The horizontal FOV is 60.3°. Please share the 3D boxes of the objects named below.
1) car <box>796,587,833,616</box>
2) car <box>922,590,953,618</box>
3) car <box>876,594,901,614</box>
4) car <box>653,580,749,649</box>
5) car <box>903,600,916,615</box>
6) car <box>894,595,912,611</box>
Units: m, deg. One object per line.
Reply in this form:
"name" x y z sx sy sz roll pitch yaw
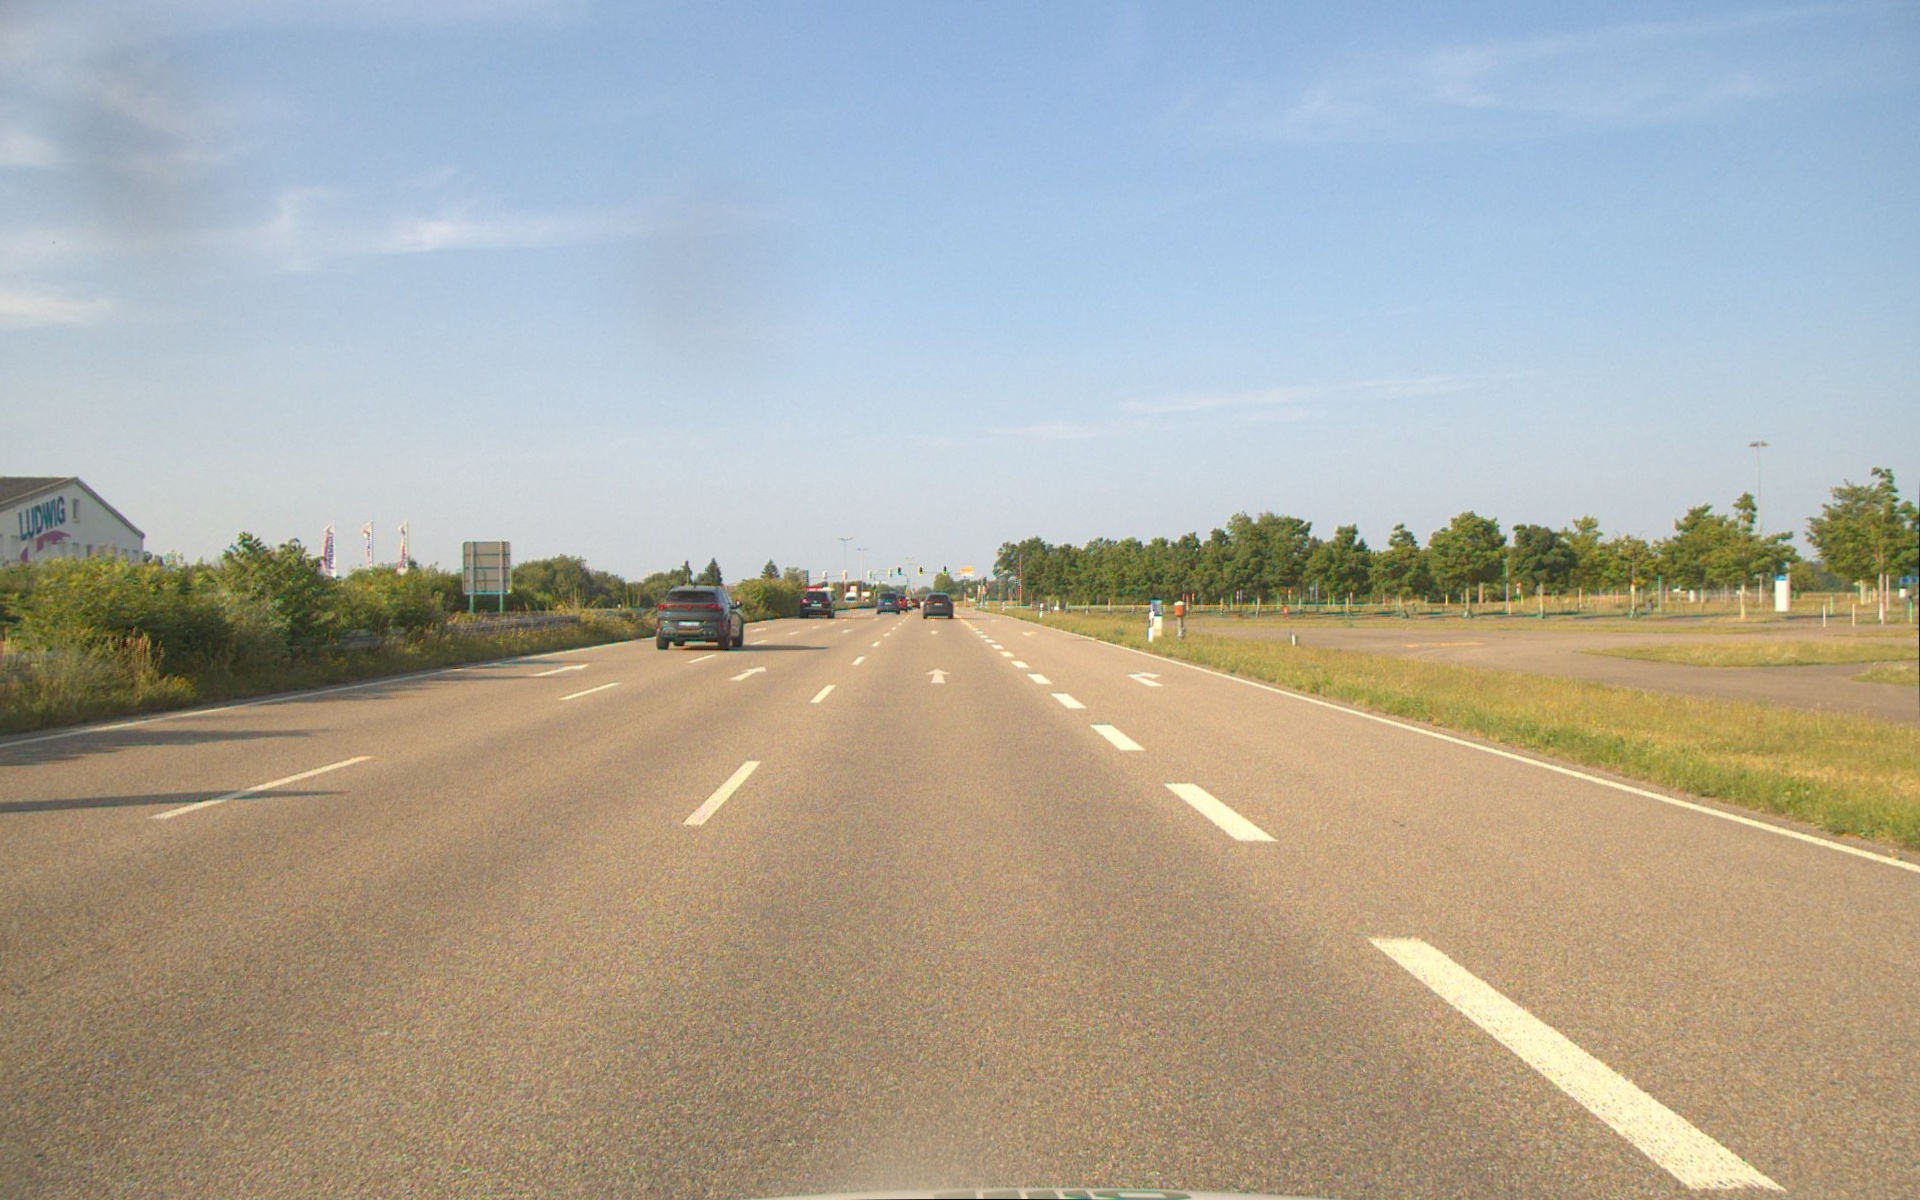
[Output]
"car" -8.869 0.075 101.200 1.893 1.709 4.399 2 0 -1
"car" -1.455 0.229 105.426 1.893 1.709 4.399 2 0 -1
"car" -5.574 0.306 128.710 1.776 1.489 4.399 2 0 -1
"car" -6.618 0.353 42.613 1.808 1.640 4.399 2 0 -1
"car" -6.098 0.894 200.451 1.612 1.758 3.400 1 -1 -2
"car" -5.295 0.275 153.821 1.614 1.489 3.980 2 0 -1
